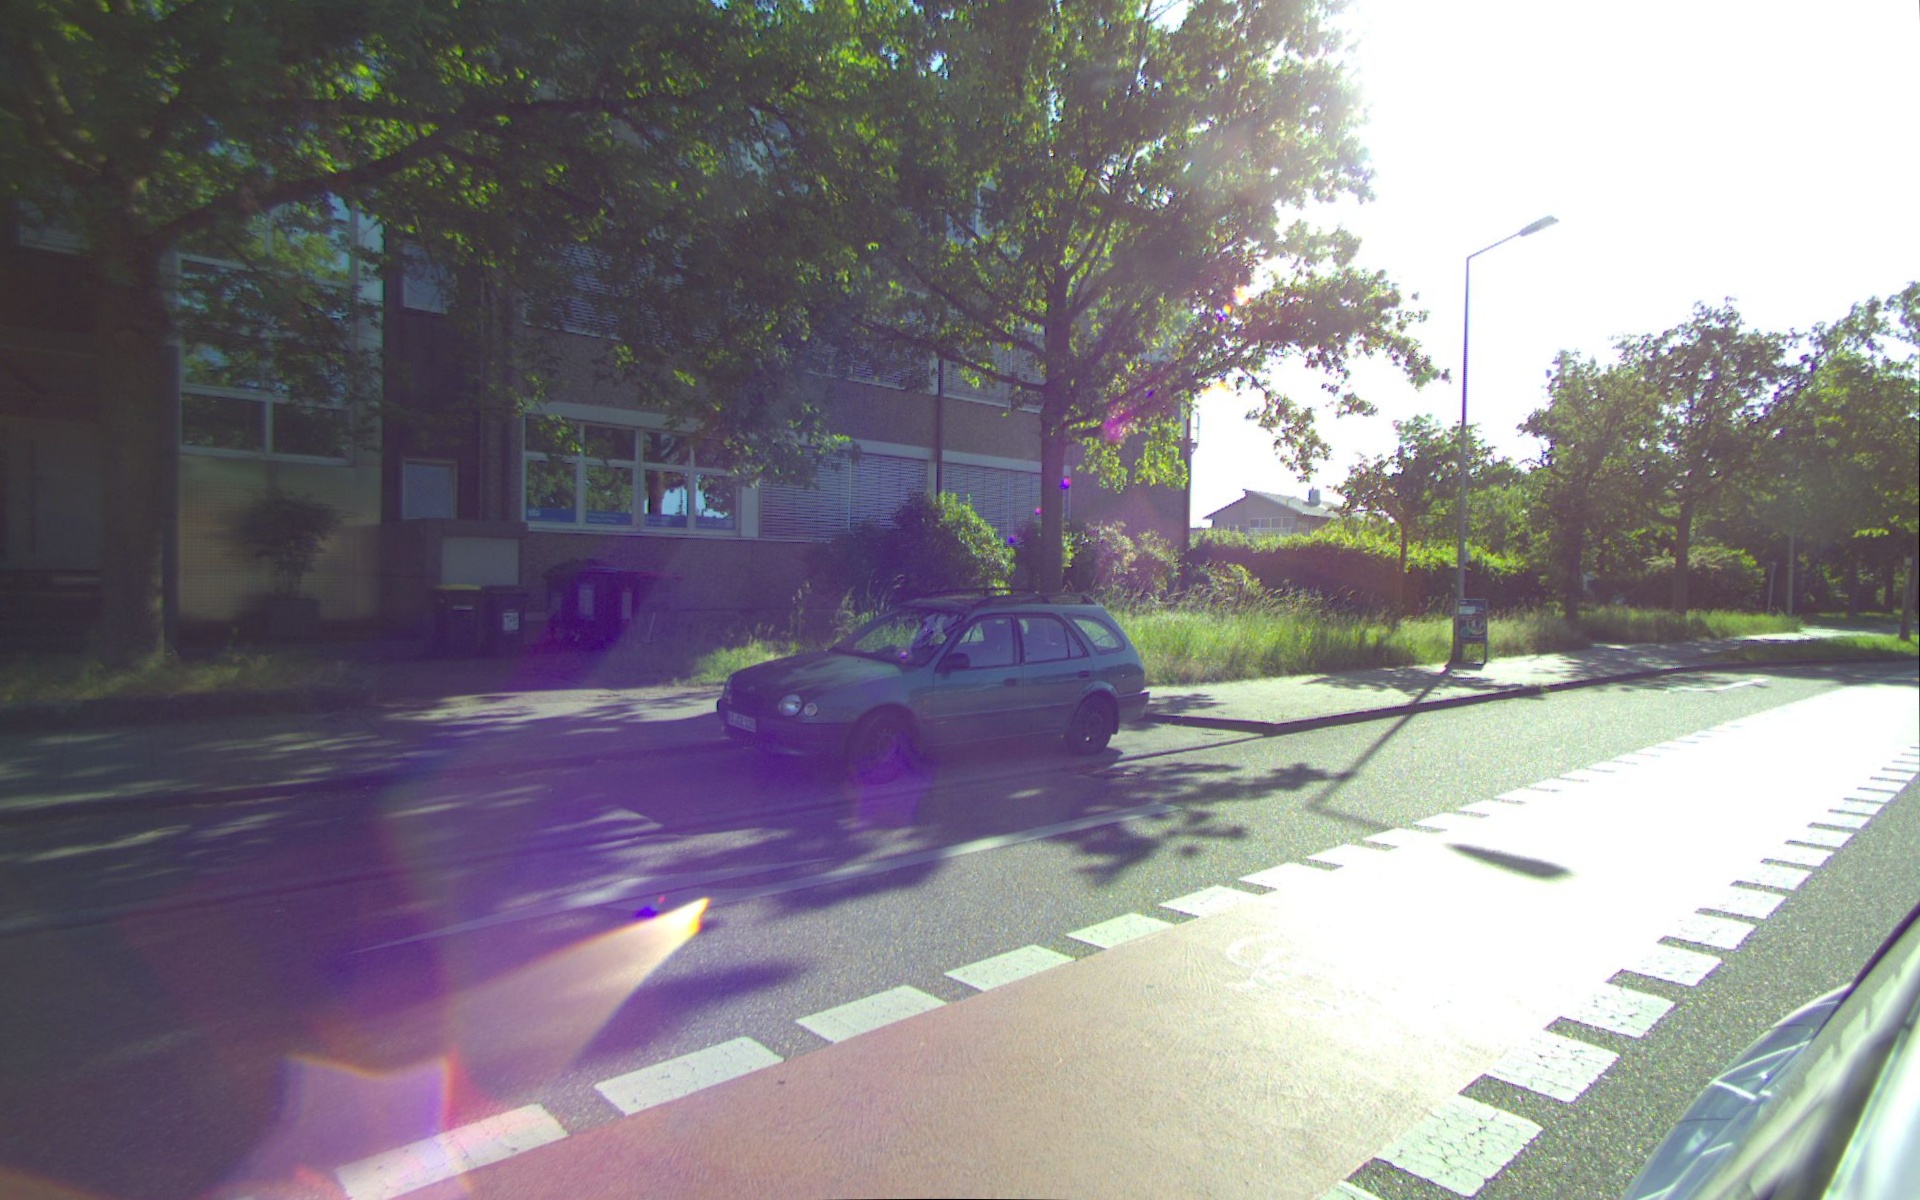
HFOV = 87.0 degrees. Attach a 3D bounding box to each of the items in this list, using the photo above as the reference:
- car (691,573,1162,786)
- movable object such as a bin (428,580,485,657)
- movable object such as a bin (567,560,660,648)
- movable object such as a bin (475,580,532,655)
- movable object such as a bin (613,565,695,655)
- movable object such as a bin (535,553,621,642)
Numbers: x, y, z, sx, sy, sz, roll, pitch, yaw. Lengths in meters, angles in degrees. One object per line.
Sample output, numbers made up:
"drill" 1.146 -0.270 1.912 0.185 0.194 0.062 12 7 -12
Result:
"car" -0.145 0.576 9.133 4.068 1.487 1.705 1 1 -41
"movable object such as a bin" -7.214 0.248 14.498 0.575 1.070 0.625 0 1 -42
"movable object such as a bin" -5.771 0.046 16.862 1.070 1.388 1.186 0 2 -43
"movable object such as a bin" -6.758 0.243 14.979 0.604 1.075 0.634 0 1 -42
"movable object such as a bin" -4.781 0.128 15.774 0.878 1.323 1.186 0 2 -37
"movable object such as a bin" -6.780 -0.070 17.942 1.024 1.501 1.309 0 2 -41
